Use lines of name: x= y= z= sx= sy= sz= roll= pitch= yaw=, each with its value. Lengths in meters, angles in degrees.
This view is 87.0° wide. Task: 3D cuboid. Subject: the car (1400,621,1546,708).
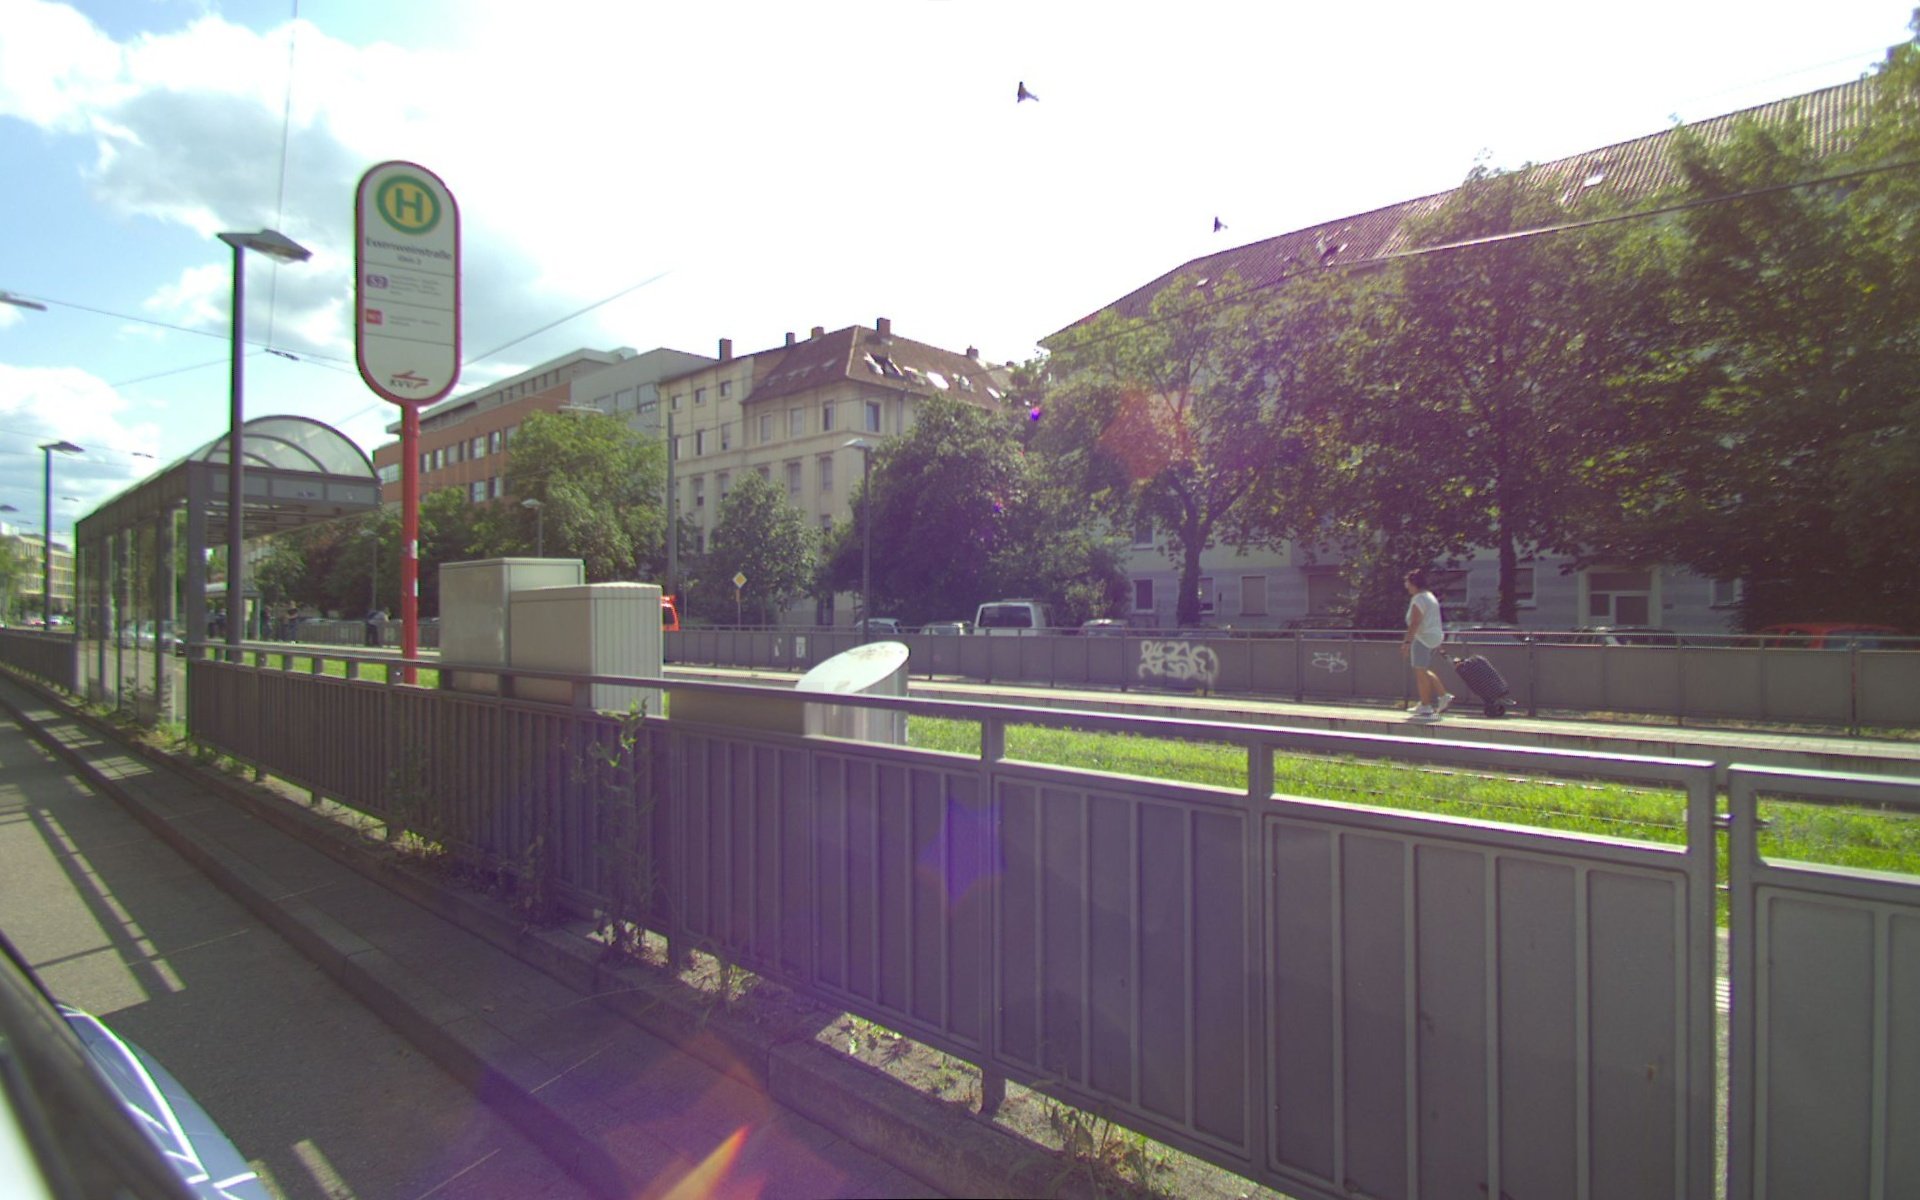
car: x=9.852 y=1.168 z=19.746 sx=1.593 sy=1.525 sz=4.011 roll=0 pitch=-1 yaw=13

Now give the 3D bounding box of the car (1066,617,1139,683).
car: x=3.803 y=1.252 z=26.526 sx=1.701 sy=1.591 sz=3.937 roll=-1 pitch=-1 yaw=11

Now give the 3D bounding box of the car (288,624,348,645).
car: x=-47.972 y=2.539 z=75.709 sx=1.631 sy=1.508 sz=3.993 roll=-1 pitch=-1 yaw=6

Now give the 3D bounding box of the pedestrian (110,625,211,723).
pedestrian: x=-9.196 y=0.837 z=11.666 sx=0.652 sy=1.080 sz=0.725 roll=0 pitch=-2 yaw=-13

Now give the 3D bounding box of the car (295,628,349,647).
car: x=-45.816 y=2.656 z=72.731 sx=1.585 sy=1.314 sz=3.244 roll=-1 pitch=-1 yaw=8

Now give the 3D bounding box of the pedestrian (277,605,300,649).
pedestrian: x=-29.849 y=1.199 z=45.006 sx=0.742 sy=1.906 sz=0.639 roll=1 pitch=1 yaw=-45

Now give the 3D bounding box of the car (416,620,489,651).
car: x=-28.404 y=1.947 z=56.819 sx=1.811 sy=1.652 sz=4.132 roll=1 pitch=-1 yaw=3

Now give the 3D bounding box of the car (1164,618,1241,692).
car: x=5.685 y=1.240 z=23.971 sx=1.632 sy=1.591 sz=3.652 roll=-1 pitch=-1 yaw=12

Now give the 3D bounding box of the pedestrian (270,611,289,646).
pedestrian: x=-32.733 y=1.353 z=48.686 sx=0.625 sy=1.687 sz=0.600 roll=-1 pitch=-1 yaw=43

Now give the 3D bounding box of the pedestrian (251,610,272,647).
pedestrian: x=-33.268 y=1.356 z=48.226 sx=0.599 sy=1.767 sz=0.626 roll=0 pitch=-1 yaw=-7

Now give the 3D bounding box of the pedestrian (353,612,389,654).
pedestrian: x=-22.918 y=1.266 z=39.358 sx=0.798 sy=1.590 sz=0.978 roll=-1 pitch=-1 yaw=40

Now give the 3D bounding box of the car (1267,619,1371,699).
car: x=7.739 y=1.223 z=22.114 sx=1.632 sy=1.591 sz=3.652 roll=-1 pitch=-1 yaw=12

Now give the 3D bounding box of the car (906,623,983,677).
car: x=-0.397 y=1.445 z=30.198 sx=1.591 sy=1.497 sz=3.988 roll=-1 pitch=-1 yaw=9

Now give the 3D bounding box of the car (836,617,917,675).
car: x=-2.544 y=1.395 z=31.848 sx=1.805 sy=1.652 sz=3.992 roll=-2 pitch=-1 yaw=6

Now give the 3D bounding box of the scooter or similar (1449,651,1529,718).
scooter or similar: x=5.942 y=0.937 z=11.367 sx=0.700 sy=0.704 sz=0.438 roll=-1 pitch=-2 yaw=42

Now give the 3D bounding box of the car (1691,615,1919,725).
car: x=13.826 y=1.063 z=16.555 sx=1.632 sy=1.591 sz=3.652 roll=-1 pitch=-1 yaw=12

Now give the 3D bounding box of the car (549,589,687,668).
car: x=-10.810 y=0.936 z=31.810 sx=4.833 sy=2.293 sz=1.972 roll=-2 pitch=-4 yaw=43

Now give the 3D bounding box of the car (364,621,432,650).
car: x=-34.721 y=2.189 z=62.660 sx=1.652 sy=1.540 sz=3.992 roll=-2 pitch=0 yaw=6

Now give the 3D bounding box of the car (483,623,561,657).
car: x=-21.543 y=1.934 z=49.989 sx=1.901 sy=1.576 sz=4.150 roll=1 pitch=-1 yaw=2

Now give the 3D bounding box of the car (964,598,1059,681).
car: x=1.500 y=1.050 z=27.818 sx=2.029 sy=2.086 sz=3.937 roll=-1 pitch=-1 yaw=12

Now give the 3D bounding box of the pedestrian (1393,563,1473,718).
pedestrian: x=5.340 y=0.451 z=11.423 sx=0.632 sy=1.677 sz=0.653 roll=-1 pitch=-2 yaw=42

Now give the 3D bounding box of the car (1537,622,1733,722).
car: x=11.908 y=1.191 z=18.134 sx=1.632 sy=1.591 sz=3.652 roll=-1 pitch=-1 yaw=12
